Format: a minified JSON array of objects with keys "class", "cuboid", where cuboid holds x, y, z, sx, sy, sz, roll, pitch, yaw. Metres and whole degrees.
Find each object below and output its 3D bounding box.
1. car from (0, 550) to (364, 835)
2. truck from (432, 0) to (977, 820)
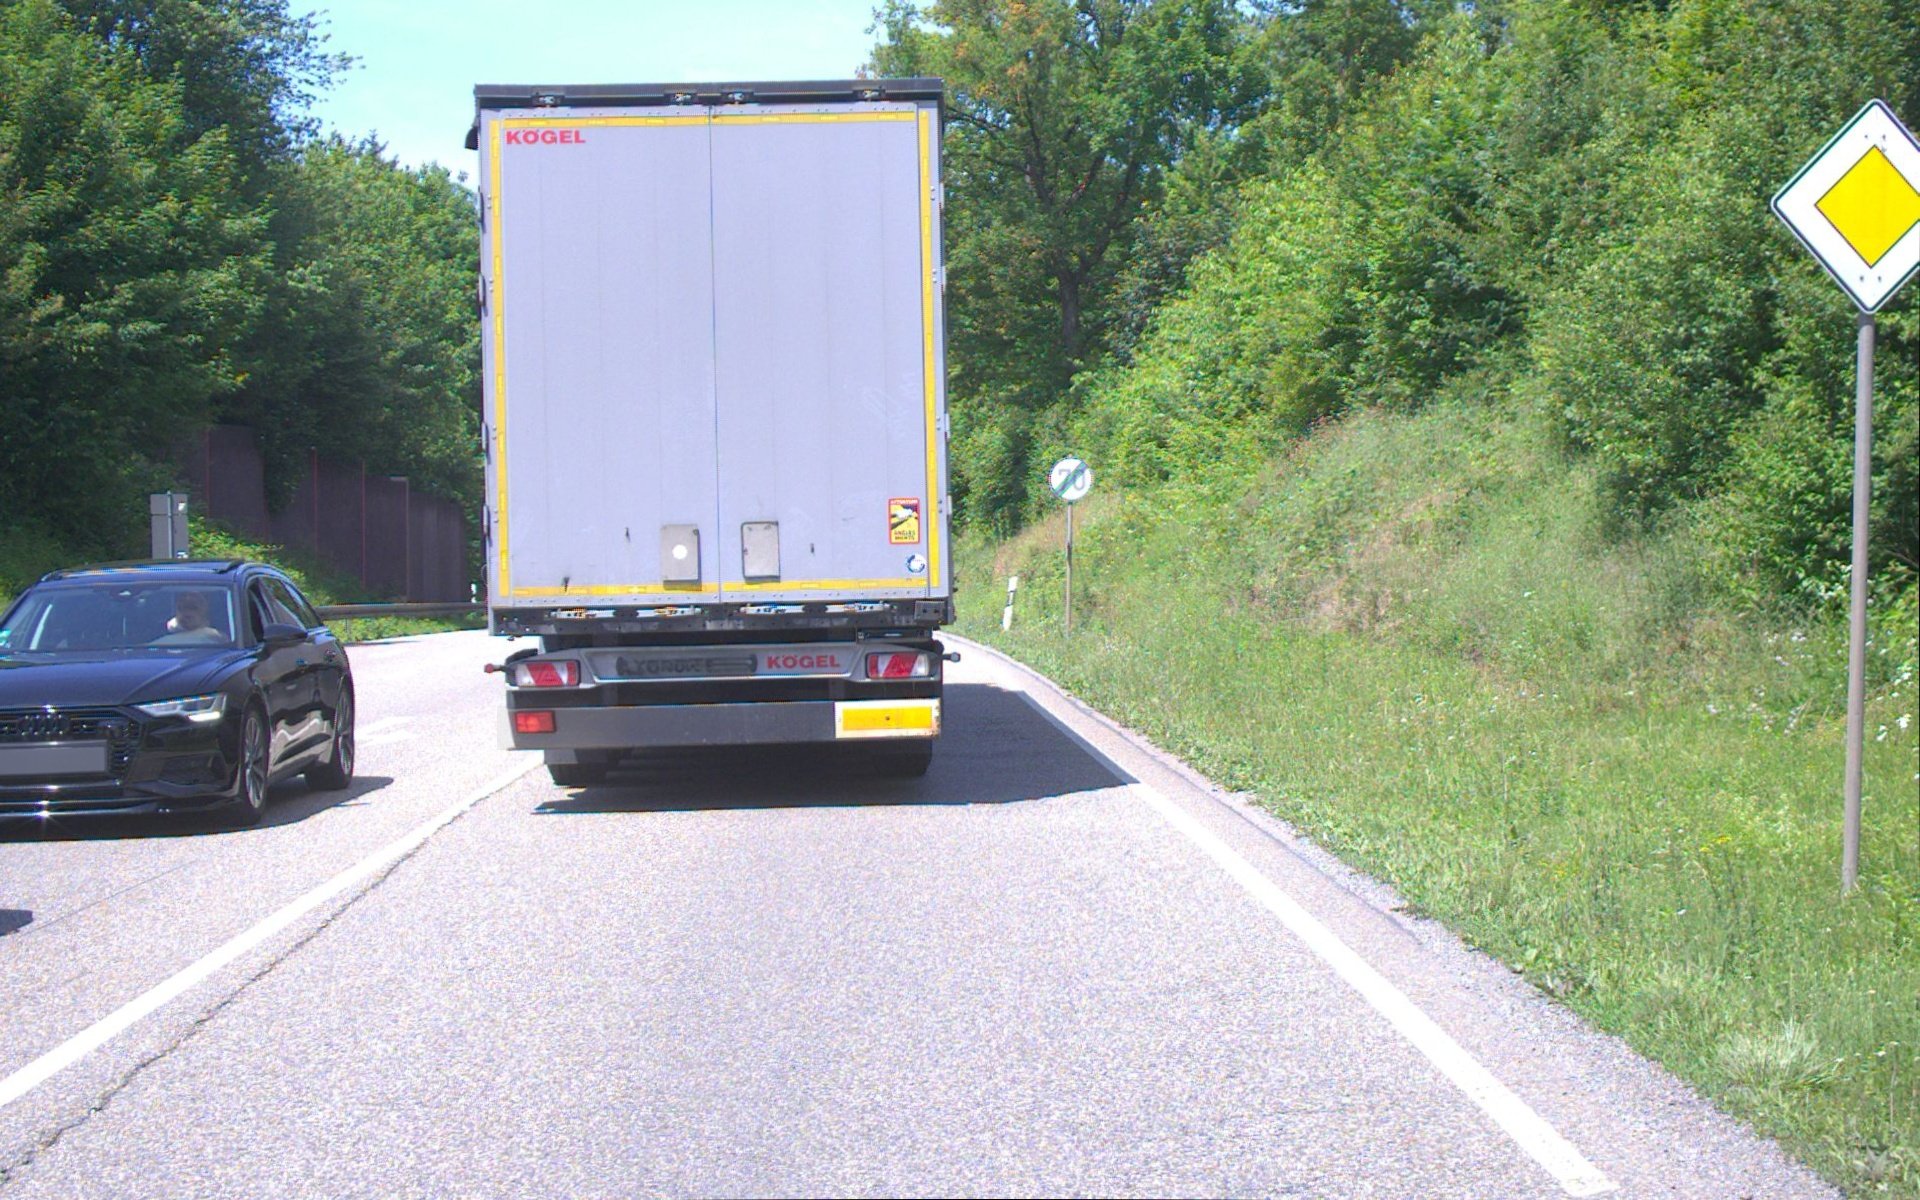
[{"class":"car","cuboid":[-4.745,0.454,20.058,1.804,1.448,4.387,-1,1,-1]},{"class":"truck","cuboid":[-1.532,-1.212,21.916,2.822,4.588,6.666,-2,1,-3]}]
